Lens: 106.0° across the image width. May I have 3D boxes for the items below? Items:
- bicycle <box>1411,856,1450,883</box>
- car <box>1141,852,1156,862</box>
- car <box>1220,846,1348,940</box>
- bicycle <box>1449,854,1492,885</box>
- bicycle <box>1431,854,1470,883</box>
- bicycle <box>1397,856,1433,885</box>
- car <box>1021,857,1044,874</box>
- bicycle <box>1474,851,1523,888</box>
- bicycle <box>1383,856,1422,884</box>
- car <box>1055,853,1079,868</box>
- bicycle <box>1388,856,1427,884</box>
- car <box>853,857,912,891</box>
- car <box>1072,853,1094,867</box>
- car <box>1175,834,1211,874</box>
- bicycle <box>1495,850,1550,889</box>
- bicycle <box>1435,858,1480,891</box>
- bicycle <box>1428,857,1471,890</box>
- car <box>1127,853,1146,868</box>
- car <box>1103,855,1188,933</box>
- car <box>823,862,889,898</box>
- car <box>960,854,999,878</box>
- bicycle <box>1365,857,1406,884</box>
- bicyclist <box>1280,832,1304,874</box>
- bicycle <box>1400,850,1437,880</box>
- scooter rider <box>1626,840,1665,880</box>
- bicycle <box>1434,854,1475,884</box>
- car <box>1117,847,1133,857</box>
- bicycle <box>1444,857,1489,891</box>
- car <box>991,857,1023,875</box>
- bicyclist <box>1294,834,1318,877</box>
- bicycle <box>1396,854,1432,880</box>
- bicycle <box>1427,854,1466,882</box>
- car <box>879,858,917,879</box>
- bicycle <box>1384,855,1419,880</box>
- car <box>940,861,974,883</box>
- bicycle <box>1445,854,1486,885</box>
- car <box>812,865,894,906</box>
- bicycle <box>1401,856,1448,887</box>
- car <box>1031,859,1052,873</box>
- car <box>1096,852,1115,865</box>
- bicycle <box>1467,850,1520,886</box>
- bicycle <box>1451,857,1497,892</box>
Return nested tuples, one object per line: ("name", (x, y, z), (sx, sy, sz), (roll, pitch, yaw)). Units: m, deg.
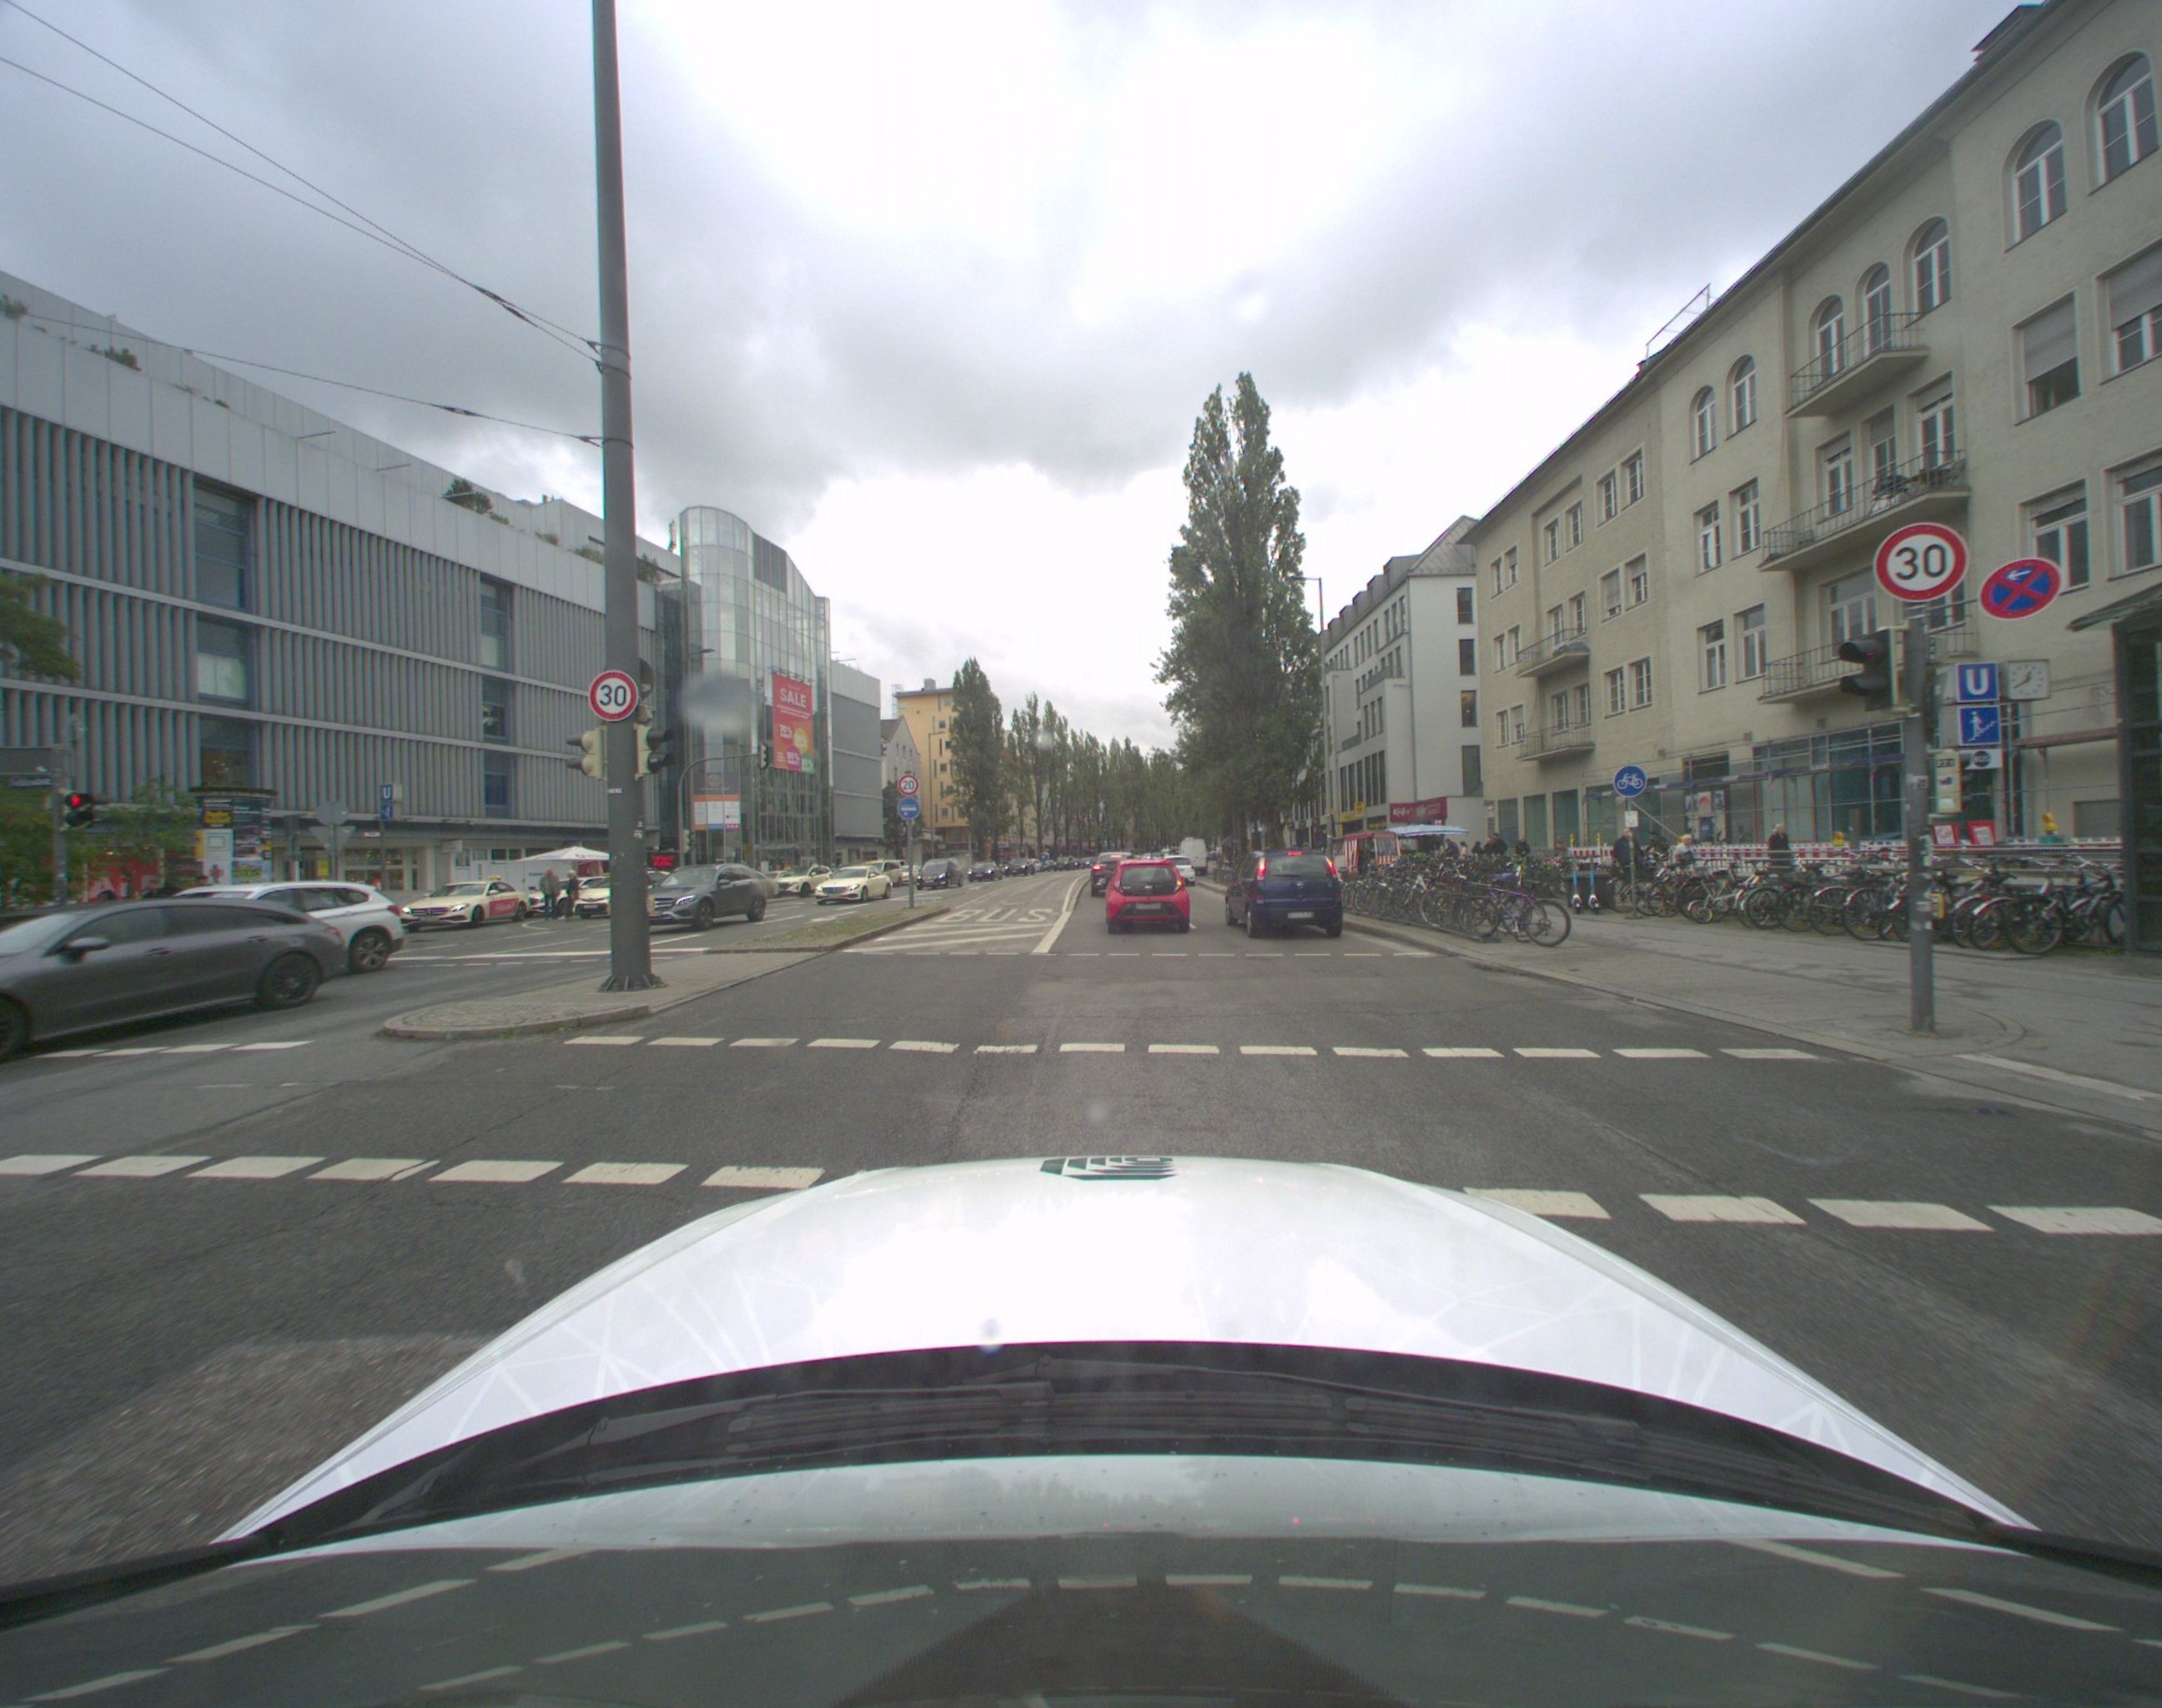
("bicycle", (13.106, 0.573, 30.542), (1.240, 0.981, 0.369), (-2, 0, 0))
("car", (12.184, 0.541, 147.176), (1.979, 1.691, 4.431), (-2, 0, 14))
("car", (3.842, 0.675, 15.996), (1.696, 1.589, 3.558), (-2, 0, 2))
("bicycle", (12.921, 0.518, 27.029), (1.241, 0.981, 0.368), (-2, 0, -5))
("bicycle", (13.093, 0.502, 28.862), (1.242, 0.981, 0.368), (-2, 0, -7))
("bicycle", (11.733, 0.587, 28.622), (1.229, 0.963, 0.367), (-2, 0, -20))
("car", (-5.438, 1.267, 92.430), (1.846, 1.816, 4.008), (0, 0, 8))
("bicycle", (12.871, 0.472, 25.106), (1.326, 1.075, 0.368), (-2, 0, -5))
("bicycle", (11.806, 0.593, 29.909), (1.255, 0.963, 0.370), (-2, 0, 4))
("car", (-1.503, 0.720, 91.993), (1.983, 1.691, 4.931), (1, 0, 7))
("bicycle", (11.794, 0.578, 29.426), (1.253, 0.963, 0.370), (-2, 0, 11))
("car", (-13.317, 1.301, 54.993), (1.983, 2.013, 5.533), (-2, 0, 6))
("car", (0.291, 0.724, 104.324), (1.982, 1.691, 4.933), (-2, -1, 9))
("car", (8.154, 0.018, 59.535), (2.098, 2.718, 4.807), (-2, 0, 3))
("bicycle", (13.005, 0.460, 23.988), (1.424, 1.075, 0.368), (-2, 0, -5))
("bicycle", (11.570, 0.624, 25.061), (1.175, 0.963, 0.370), (-2, 0, 5))
("bicycle", (11.584, 0.606, 25.604), (1.177, 0.963, 0.369), (-2, 0, 0))
("car", (5.662, 0.647, 82.605), (1.764, 1.439, 3.945), (-2, 0, 6))
("car", (1.317, 0.761, 17.063), (1.598, 1.461, 3.132), (-1, 0, 3))
("car", (-11.326, 1.261, 41.348), (1.831, 1.614, 4.262), (-2, 0, 4))
("car", (-9.191, 1.065, 74.136), (1.980, 1.816, 4.550), (-5, 1, 13))
("bicycle", (11.740, 0.636, 31.401), (1.423, 0.963, 0.370), (-2, 0, 7))
("bicyclist", (9.669, -0.034, 37.365), (0.759, 1.870, 1.133), (-2, 0, 2))
("bicycle", (13.137, 0.426, 31.732), (1.240, 1.140, 0.369), (-2, 0, 0))
("scooter rider", (18.047, 0.197, 26.041), (0.683, 1.219, 0.719), (-3, 0, 0))
("bicycle", (12.947, 0.521, 28.247), (1.240, 0.981, 0.369), (-2, 0, -2))
("car", (7.873, -0.330, 146.160), (1.979, 1.691, 4.431), (-2, 0, 14))
("bicycle", (11.555, 0.602, 24.410), (1.127, 0.963, 0.370), (-2, 0, 7))
("car", (-7.269, 1.185, 80.205), (1.982, 1.609, 4.544), (-3, 0, 9))
("bicyclist", (8.994, 0.053, 32.567), (0.611, 1.657, 1.252), (-2, 0, 3))
("bicycle", (13.247, 0.515, 32.432), (1.240, 0.963, 0.369), (-2, 0, 0))
("bicycle", (13.183, 0.503, 29.361), (1.242, 0.981, 0.368), (-2, 0, -7))
("car", (-16.905, 1.349, 75.516), (1.858, 1.772, 4.255), (-2, 0, 11))
("bicycle", (12.961, 0.539, 32.951), (1.240, 0.963, 0.369), (-2, 0, 0))
("car", (-9.180, 1.315, 60.603), (1.616, 1.552, 3.390), (-2, 0, 6))
("bicycle", (13.026, 0.519, 27.594), (1.242, 0.981, 0.368), (-2, 0, -7))
("car", (-9.056, 1.208, 32.765), (1.758, 1.421, 4.642), (-2, 0, 3))
("bicycle", (11.554, 0.591, 27.406), (1.399, 0.963, 0.369), (-2, 0, -4))
("car", (-4.656, 1.396, 96.175), (1.737, 1.570, 3.499), (-2, 0, 7))
("car", (3.478, 0.615, 115.149), (1.982, 1.691, 4.933), (-2, 0, 9))
("bicycle", (13.055, 0.447, 25.788), (1.497, 1.075, 0.368), (-2, 0, -5))
("bicycle", (11.555, 0.602, 23.971), (1.127, 0.963, 0.370), (-2, 0, 7))
